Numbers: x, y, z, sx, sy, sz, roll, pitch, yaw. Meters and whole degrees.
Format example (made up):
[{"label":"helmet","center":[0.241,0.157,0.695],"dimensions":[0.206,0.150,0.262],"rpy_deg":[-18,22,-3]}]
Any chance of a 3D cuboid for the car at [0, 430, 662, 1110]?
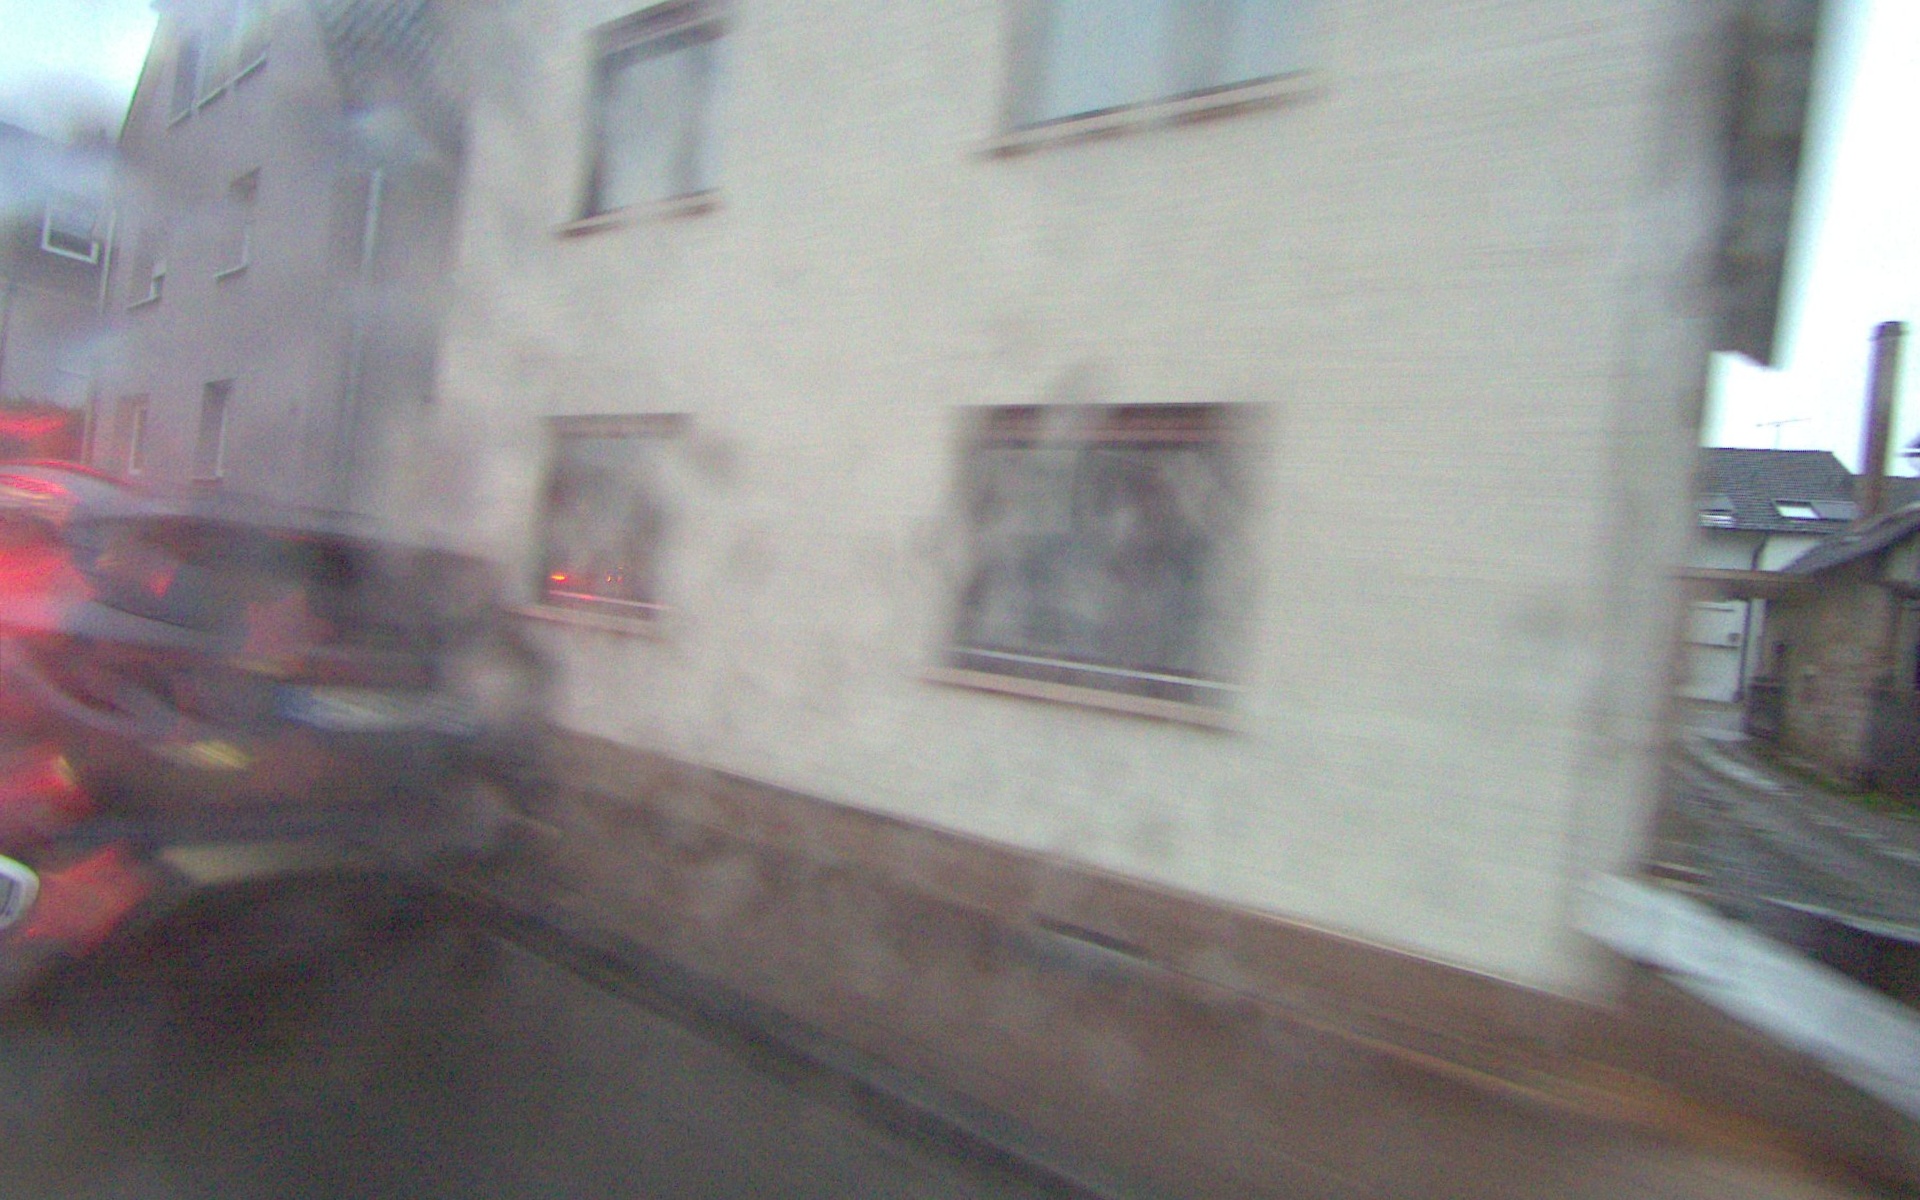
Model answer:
[{"label":"car","center":[-3.526,0.315,4.370],"dimensions":[4.267,1.655,1.850],"rpy_deg":[7,-2,34]}]
